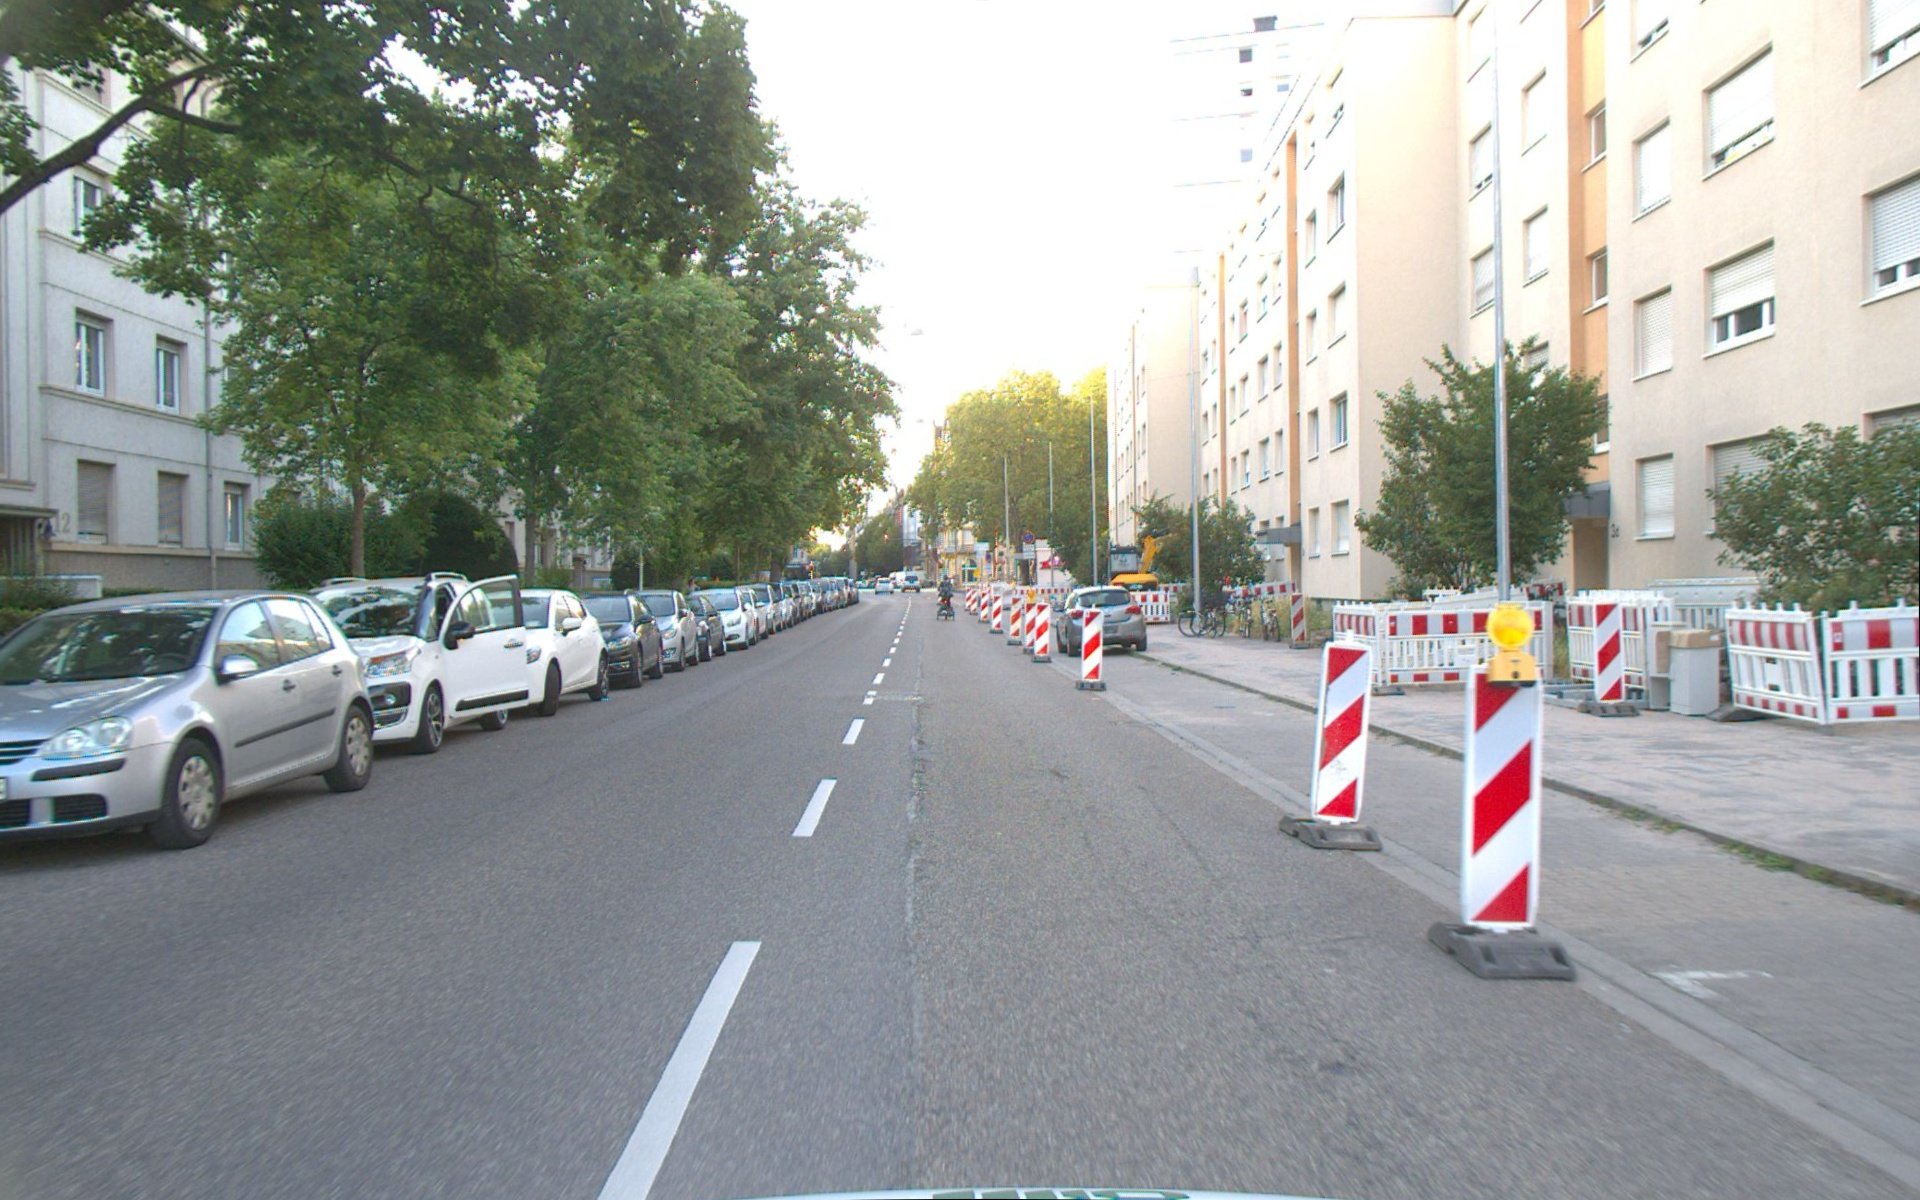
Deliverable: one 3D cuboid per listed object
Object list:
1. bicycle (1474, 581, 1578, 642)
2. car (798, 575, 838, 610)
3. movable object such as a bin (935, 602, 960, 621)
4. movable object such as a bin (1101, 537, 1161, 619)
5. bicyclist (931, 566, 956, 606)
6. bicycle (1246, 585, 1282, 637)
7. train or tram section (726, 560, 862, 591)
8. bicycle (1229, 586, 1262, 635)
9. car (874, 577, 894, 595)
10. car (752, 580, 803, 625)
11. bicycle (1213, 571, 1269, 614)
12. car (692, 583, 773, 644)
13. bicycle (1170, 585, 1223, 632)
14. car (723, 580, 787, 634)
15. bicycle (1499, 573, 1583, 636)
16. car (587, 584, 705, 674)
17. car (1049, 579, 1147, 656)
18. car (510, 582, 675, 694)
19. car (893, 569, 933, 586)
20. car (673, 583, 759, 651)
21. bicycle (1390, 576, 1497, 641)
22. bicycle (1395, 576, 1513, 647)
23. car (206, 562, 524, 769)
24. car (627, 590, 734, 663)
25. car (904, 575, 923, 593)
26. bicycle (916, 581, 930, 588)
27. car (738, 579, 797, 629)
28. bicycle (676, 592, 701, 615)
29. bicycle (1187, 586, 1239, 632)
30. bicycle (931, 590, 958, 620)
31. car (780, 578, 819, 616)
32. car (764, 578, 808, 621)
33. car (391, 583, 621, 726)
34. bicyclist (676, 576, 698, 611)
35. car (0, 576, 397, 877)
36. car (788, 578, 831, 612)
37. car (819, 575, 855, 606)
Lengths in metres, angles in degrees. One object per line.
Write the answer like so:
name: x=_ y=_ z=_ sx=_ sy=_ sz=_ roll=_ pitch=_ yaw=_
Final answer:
bicycle: x=9.266 y=0.195 z=27.147 sx=0.550 sy=0.880 sz=1.599 roll=-5 pitch=0 yaw=-29
car: x=-7.153 y=-0.405 z=83.506 sx=1.673 sy=1.628 sz=4.115 roll=-4 pitch=1 yaw=-2
movable object such as a bin: x=-0.501 y=0.457 z=67.861 sx=0.921 sy=0.701 sz=0.992 roll=-3 pitch=0 yaw=-5
movable object such as a bin: x=5.872 y=-0.765 z=57.128 sx=1.893 sy=2.740 sz=2.893 roll=-1 pitch=1 yaw=3
bicyclist: x=-0.695 y=-0.599 z=69.484 sx=0.921 sy=1.609 sz=1.145 roll=-3 pitch=0 yaw=-5
bicycle: x=7.241 y=0.254 z=39.420 sx=0.544 sy=1.192 sz=1.817 roll=0 pitch=1 yaw=1
train or tram section: x=-21.171 y=-3.130 z=211.281 sx=16.647 sy=3.688 sz=5.048 roll=0 pitch=0 yaw=16
bicycle: x=7.141 y=0.240 z=41.466 sx=0.544 sy=1.192 sz=1.817 roll=0 pitch=1 yaw=1
car: x=-7.189 y=-1.342 z=156.763 sx=1.828 sy=1.613 sz=3.999 roll=-1 pitch=1 yaw=-1
car: x=-6.693 y=0.056 z=60.876 sx=1.559 sy=1.492 sz=4.099 roll=-4 pitch=1 yaw=-3
bicycle: x=8.268 y=-0.215 z=48.636 sx=1.562 sy=1.243 sz=0.484 roll=0 pitch=0 yaw=-8
car: x=-6.197 y=0.324 z=45.547 sx=1.658 sy=1.485 sz=4.482 roll=-4 pitch=1 yaw=-2
bicycle: x=6.135 y=0.216 z=42.961 sx=0.548 sy=1.192 sz=1.805 roll=0 pitch=1 yaw=-21
car: x=-6.427 y=0.201 z=52.120 sx=1.558 sy=1.531 sz=3.798 roll=-4 pitch=1 yaw=-2
bicycle: x=10.282 y=0.076 z=29.251 sx=1.803 sy=0.937 sz=0.549 roll=-6 pitch=0 yaw=-43
car: x=-5.847 y=0.502 z=31.151 sx=1.641 sy=1.485 sz=3.702 roll=-4 pitch=1 yaw=-4
car: x=3.111 y=0.348 z=37.987 sx=1.740 sy=1.516 sz=4.573 roll=-4 pitch=1 yaw=0
car: x=-5.733 y=0.527 z=26.341 sx=1.718 sy=1.505 sz=4.676 roll=-4 pitch=1 yaw=-3
car: x=-6.661 y=-3.250 z=235.194 sx=2.038 sy=2.327 sz=5.781 roll=0 pitch=1 yaw=45
car: x=-5.998 y=0.387 z=40.982 sx=1.659 sy=1.485 sz=4.142 roll=-4 pitch=1 yaw=-3
bicycle: x=8.801 y=0.151 z=30.156 sx=1.716 sy=1.003 sz=0.558 roll=-6 pitch=0 yaw=8
bicycle: x=8.481 y=0.197 z=28.410 sx=1.775 sy=1.040 sz=0.558 roll=-6 pitch=0 yaw=-1
car: x=-5.638 y=0.542 z=16.239 sx=1.718 sy=1.660 sz=4.105 roll=-4 pitch=1 yaw=-3
car: x=-5.994 y=0.531 z=35.942 sx=1.641 sy=1.355 sz=4.578 roll=-4 pitch=1 yaw=-2
car: x=-4.856 y=-1.652 z=172.952 sx=1.829 sy=1.846 sz=3.998 roll=-1 pitch=1 yaw=-3
bicycle: x=-5.088 y=-2.112 z=228.781 sx=1.877 sy=0.985 sz=0.545 roll=-1 pitch=1 yaw=-3
car: x=-6.530 y=0.123 z=56.295 sx=1.557 sy=1.555 sz=2.921 roll=-4 pitch=1 yaw=1
bicycle: x=-11.315 y=0.154 z=68.875 sx=0.792 sy=0.927 sz=1.761 roll=0 pitch=1 yaw=-2
bicycle: x=6.630 y=0.220 z=43.479 sx=0.616 sy=1.192 sz=1.808 roll=0 pitch=1 yaw=-18
bicycle: x=-0.654 y=0.214 z=69.524 sx=0.921 sy=1.192 sz=2.356 roll=-3 pitch=0 yaw=-5
car: x=-7.222 y=-0.152 z=74.691 sx=1.559 sy=1.565 sz=4.203 roll=-4 pitch=1 yaw=-4
car: x=-6.832 y=-0.033 z=65.145 sx=1.493 sy=1.555 sz=3.163 roll=-4 pitch=1 yaw=-3
car: x=-5.564 y=0.598 z=20.762 sx=1.717 sy=1.505 sz=3.944 roll=-4 pitch=1 yaw=0
bicyclist: x=-11.358 y=-0.285 z=68.890 sx=0.792 sy=1.428 sz=0.973 roll=0 pitch=0 yaw=-2
car: x=-5.197 y=0.654 z=10.513 sx=1.717 sy=1.497 sz=4.224 roll=-4 pitch=1 yaw=0
car: x=-7.180 y=-0.237 z=79.088 sx=1.673 sy=1.477 sz=3.842 roll=-4 pitch=1 yaw=-1
car: x=-7.497 y=-0.598 z=101.019 sx=1.914 sy=1.748 sz=4.769 roll=-3 pitch=1 yaw=-2
